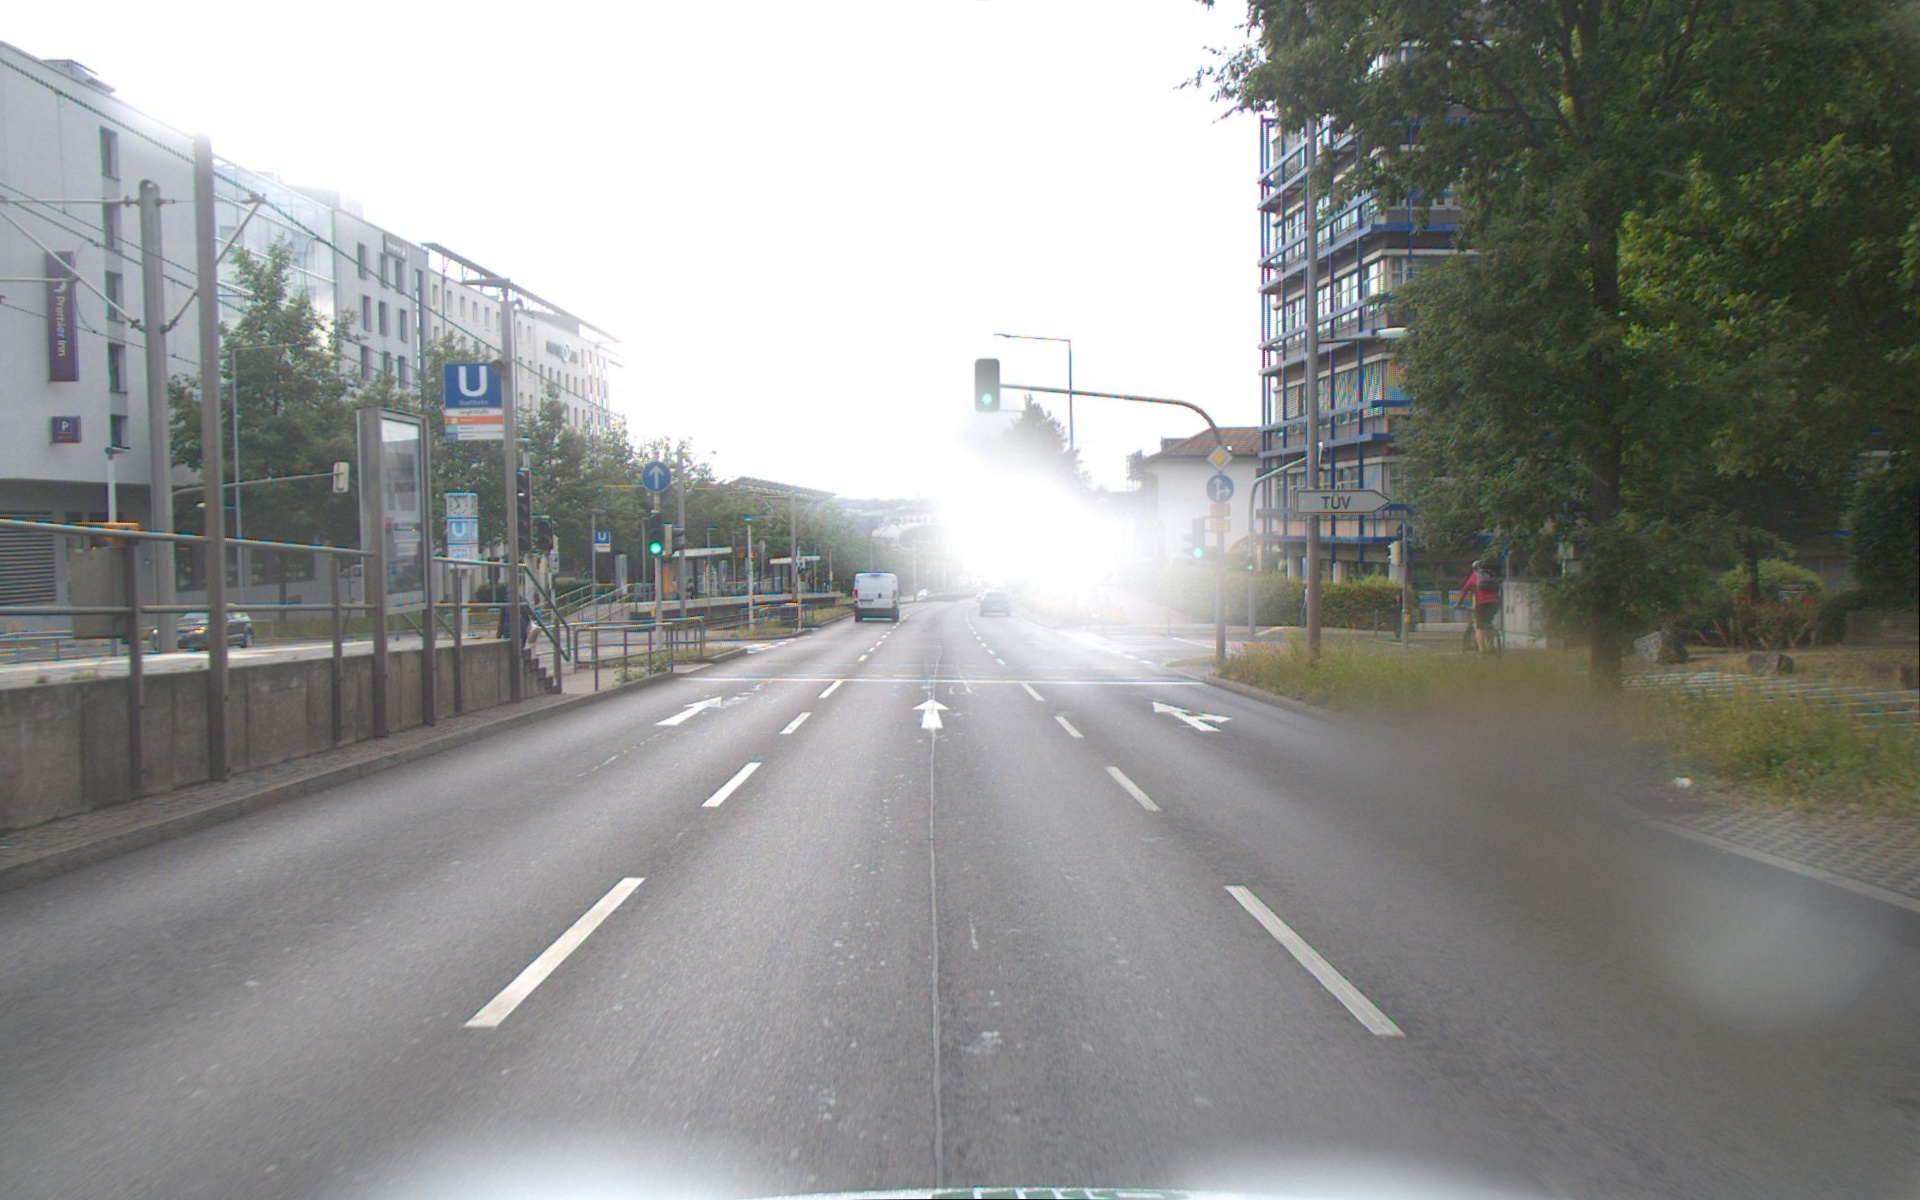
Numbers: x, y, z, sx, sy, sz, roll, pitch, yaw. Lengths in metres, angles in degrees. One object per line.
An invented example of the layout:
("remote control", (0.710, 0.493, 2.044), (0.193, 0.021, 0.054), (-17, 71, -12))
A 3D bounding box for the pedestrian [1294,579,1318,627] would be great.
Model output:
("pedestrian", (12.194, 0.115, 58.337), (0.544, 1.681, 0.830), (0, 0, -10))

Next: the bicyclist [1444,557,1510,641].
("bicyclist", (8.366, -0.012, 26.796), (0.642, 1.310, 1.219), (2, 0, -1))

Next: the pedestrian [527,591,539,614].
("pedestrian", (-30.489, 0.203, 118.147), (0.587, 1.605, 0.835), (1, 0, 1))

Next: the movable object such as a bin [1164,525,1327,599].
("movable object such as a bin", (21.982, -2.875, 127.809), (11.893, 5.353, 3.789), (-1, -1, 0))

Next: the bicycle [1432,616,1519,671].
("bicycle", (8.353, 0.688, 26.884), (0.654, 0.823, 2.318), (1, 0, -1))

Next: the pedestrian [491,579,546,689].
("pedestrian", (-6.869, 0.515, 25.715), (0.693, 1.679, 0.643), (0, 0, -30))

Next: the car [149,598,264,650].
("car", (-22.026, 0.669, 48.500), (1.693, 1.448, 3.778), (-1, 0, -1))

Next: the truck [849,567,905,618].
("truck", (-3.950, -0.339, 79.330), (2.312, 2.301, 5.306), (1, 0, 0))

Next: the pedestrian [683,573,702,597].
("pedestrian", (-15.567, -0.872, 96.185), (0.941, 1.322, 0.684), (-1, 0, 0))

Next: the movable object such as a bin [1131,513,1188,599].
("movable object such as a bin", (14.042, -3.002, 116.891), (3.222, 5.784, 8.766), (1, 0, 2))

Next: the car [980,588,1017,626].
("car", (2.195, 0.398, 93.346), (1.952, 2.049, 3.935), (1, 0, 2))

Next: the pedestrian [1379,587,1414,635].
("pedestrian", (14.600, 0.361, 55.342), (0.887, 1.568, 0.796), (0, 0, 38))
